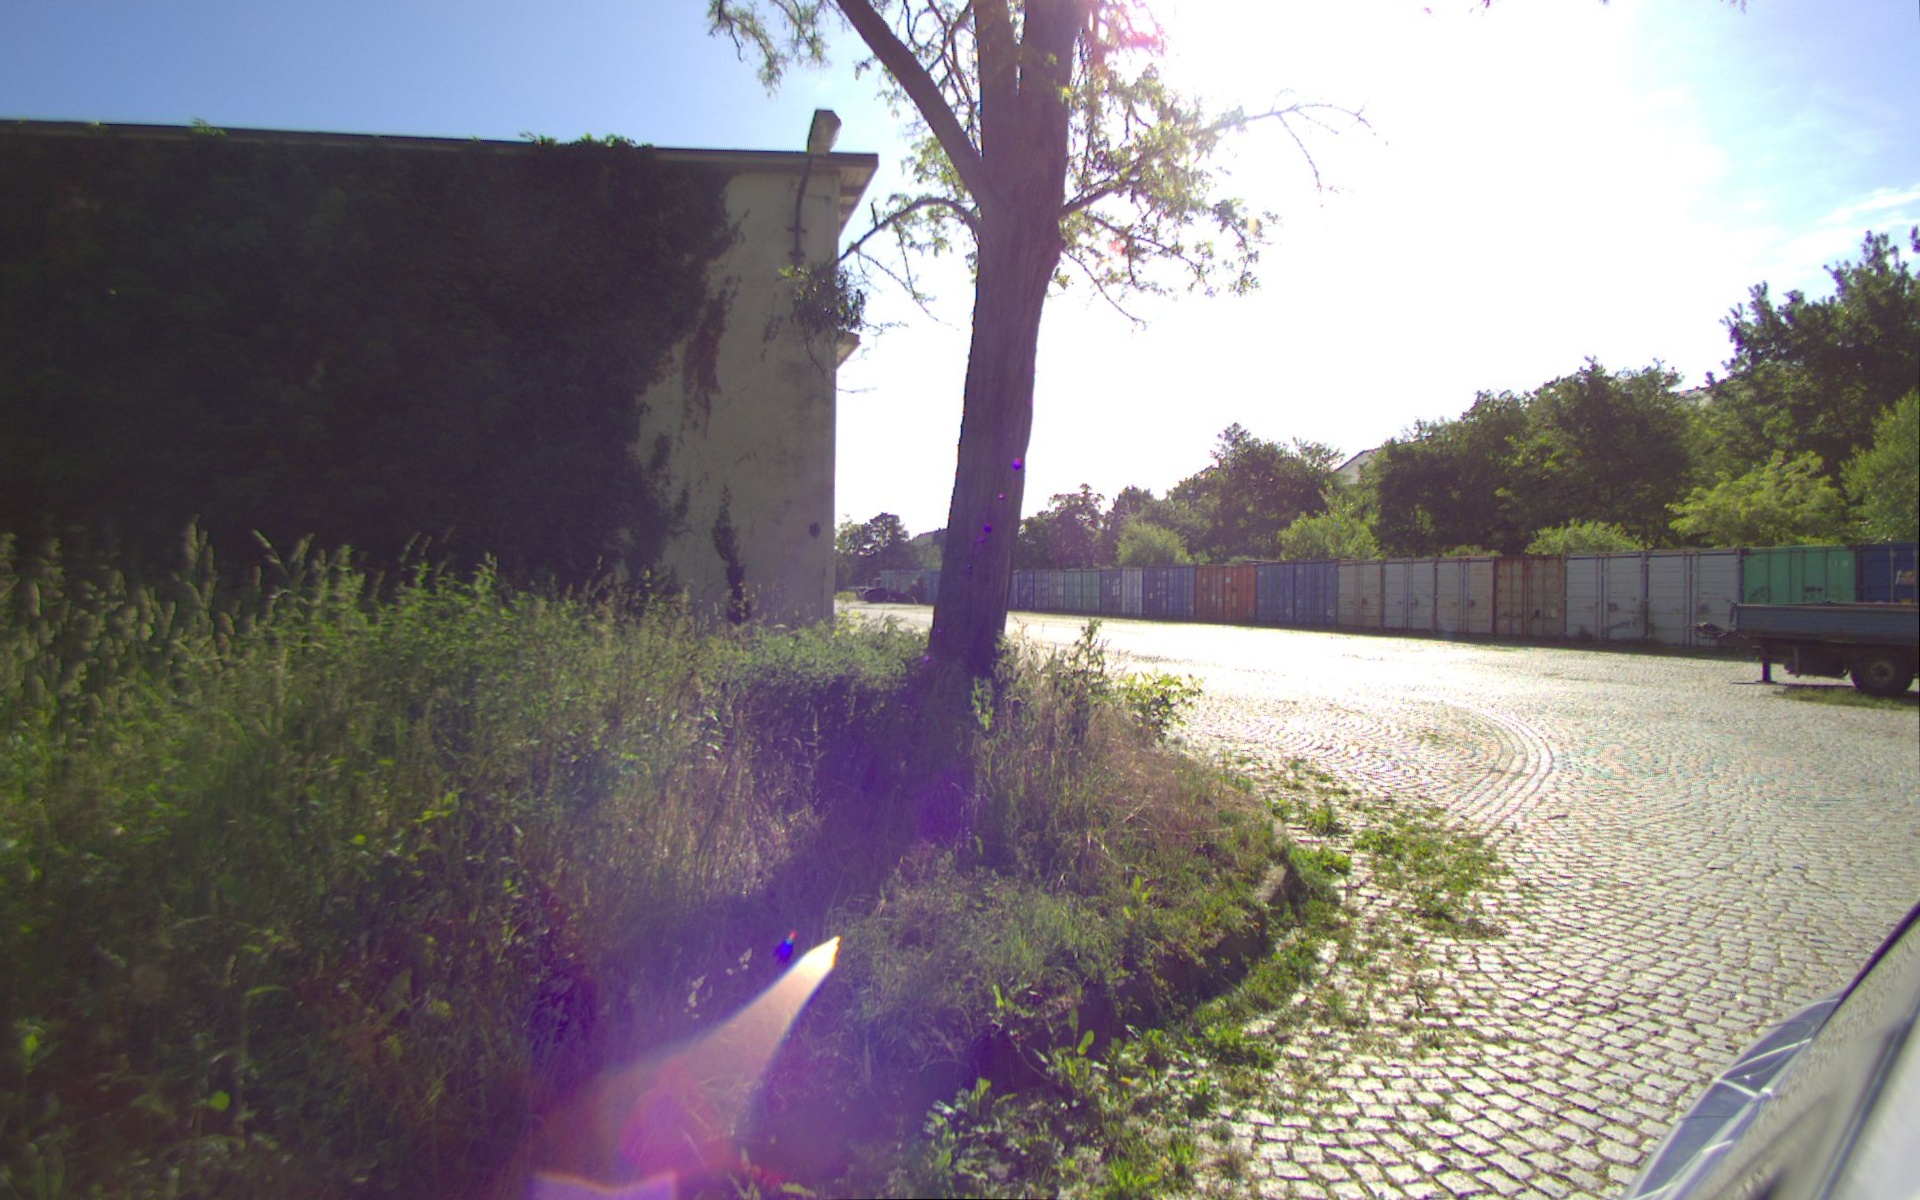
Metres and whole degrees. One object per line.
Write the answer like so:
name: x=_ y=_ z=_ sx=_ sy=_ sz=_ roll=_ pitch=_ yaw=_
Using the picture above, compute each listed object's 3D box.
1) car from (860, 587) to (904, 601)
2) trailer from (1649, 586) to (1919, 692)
car: x=-7.184 y=-0.539 z=93.028 sx=3.795 sy=1.282 sz=1.594 roll=0 pitch=1 yaw=-20
trailer: x=15.186 y=0.558 z=16.213 sx=2.795 sy=1.537 sz=6.506 roll=-1 pitch=1 yaw=-18
